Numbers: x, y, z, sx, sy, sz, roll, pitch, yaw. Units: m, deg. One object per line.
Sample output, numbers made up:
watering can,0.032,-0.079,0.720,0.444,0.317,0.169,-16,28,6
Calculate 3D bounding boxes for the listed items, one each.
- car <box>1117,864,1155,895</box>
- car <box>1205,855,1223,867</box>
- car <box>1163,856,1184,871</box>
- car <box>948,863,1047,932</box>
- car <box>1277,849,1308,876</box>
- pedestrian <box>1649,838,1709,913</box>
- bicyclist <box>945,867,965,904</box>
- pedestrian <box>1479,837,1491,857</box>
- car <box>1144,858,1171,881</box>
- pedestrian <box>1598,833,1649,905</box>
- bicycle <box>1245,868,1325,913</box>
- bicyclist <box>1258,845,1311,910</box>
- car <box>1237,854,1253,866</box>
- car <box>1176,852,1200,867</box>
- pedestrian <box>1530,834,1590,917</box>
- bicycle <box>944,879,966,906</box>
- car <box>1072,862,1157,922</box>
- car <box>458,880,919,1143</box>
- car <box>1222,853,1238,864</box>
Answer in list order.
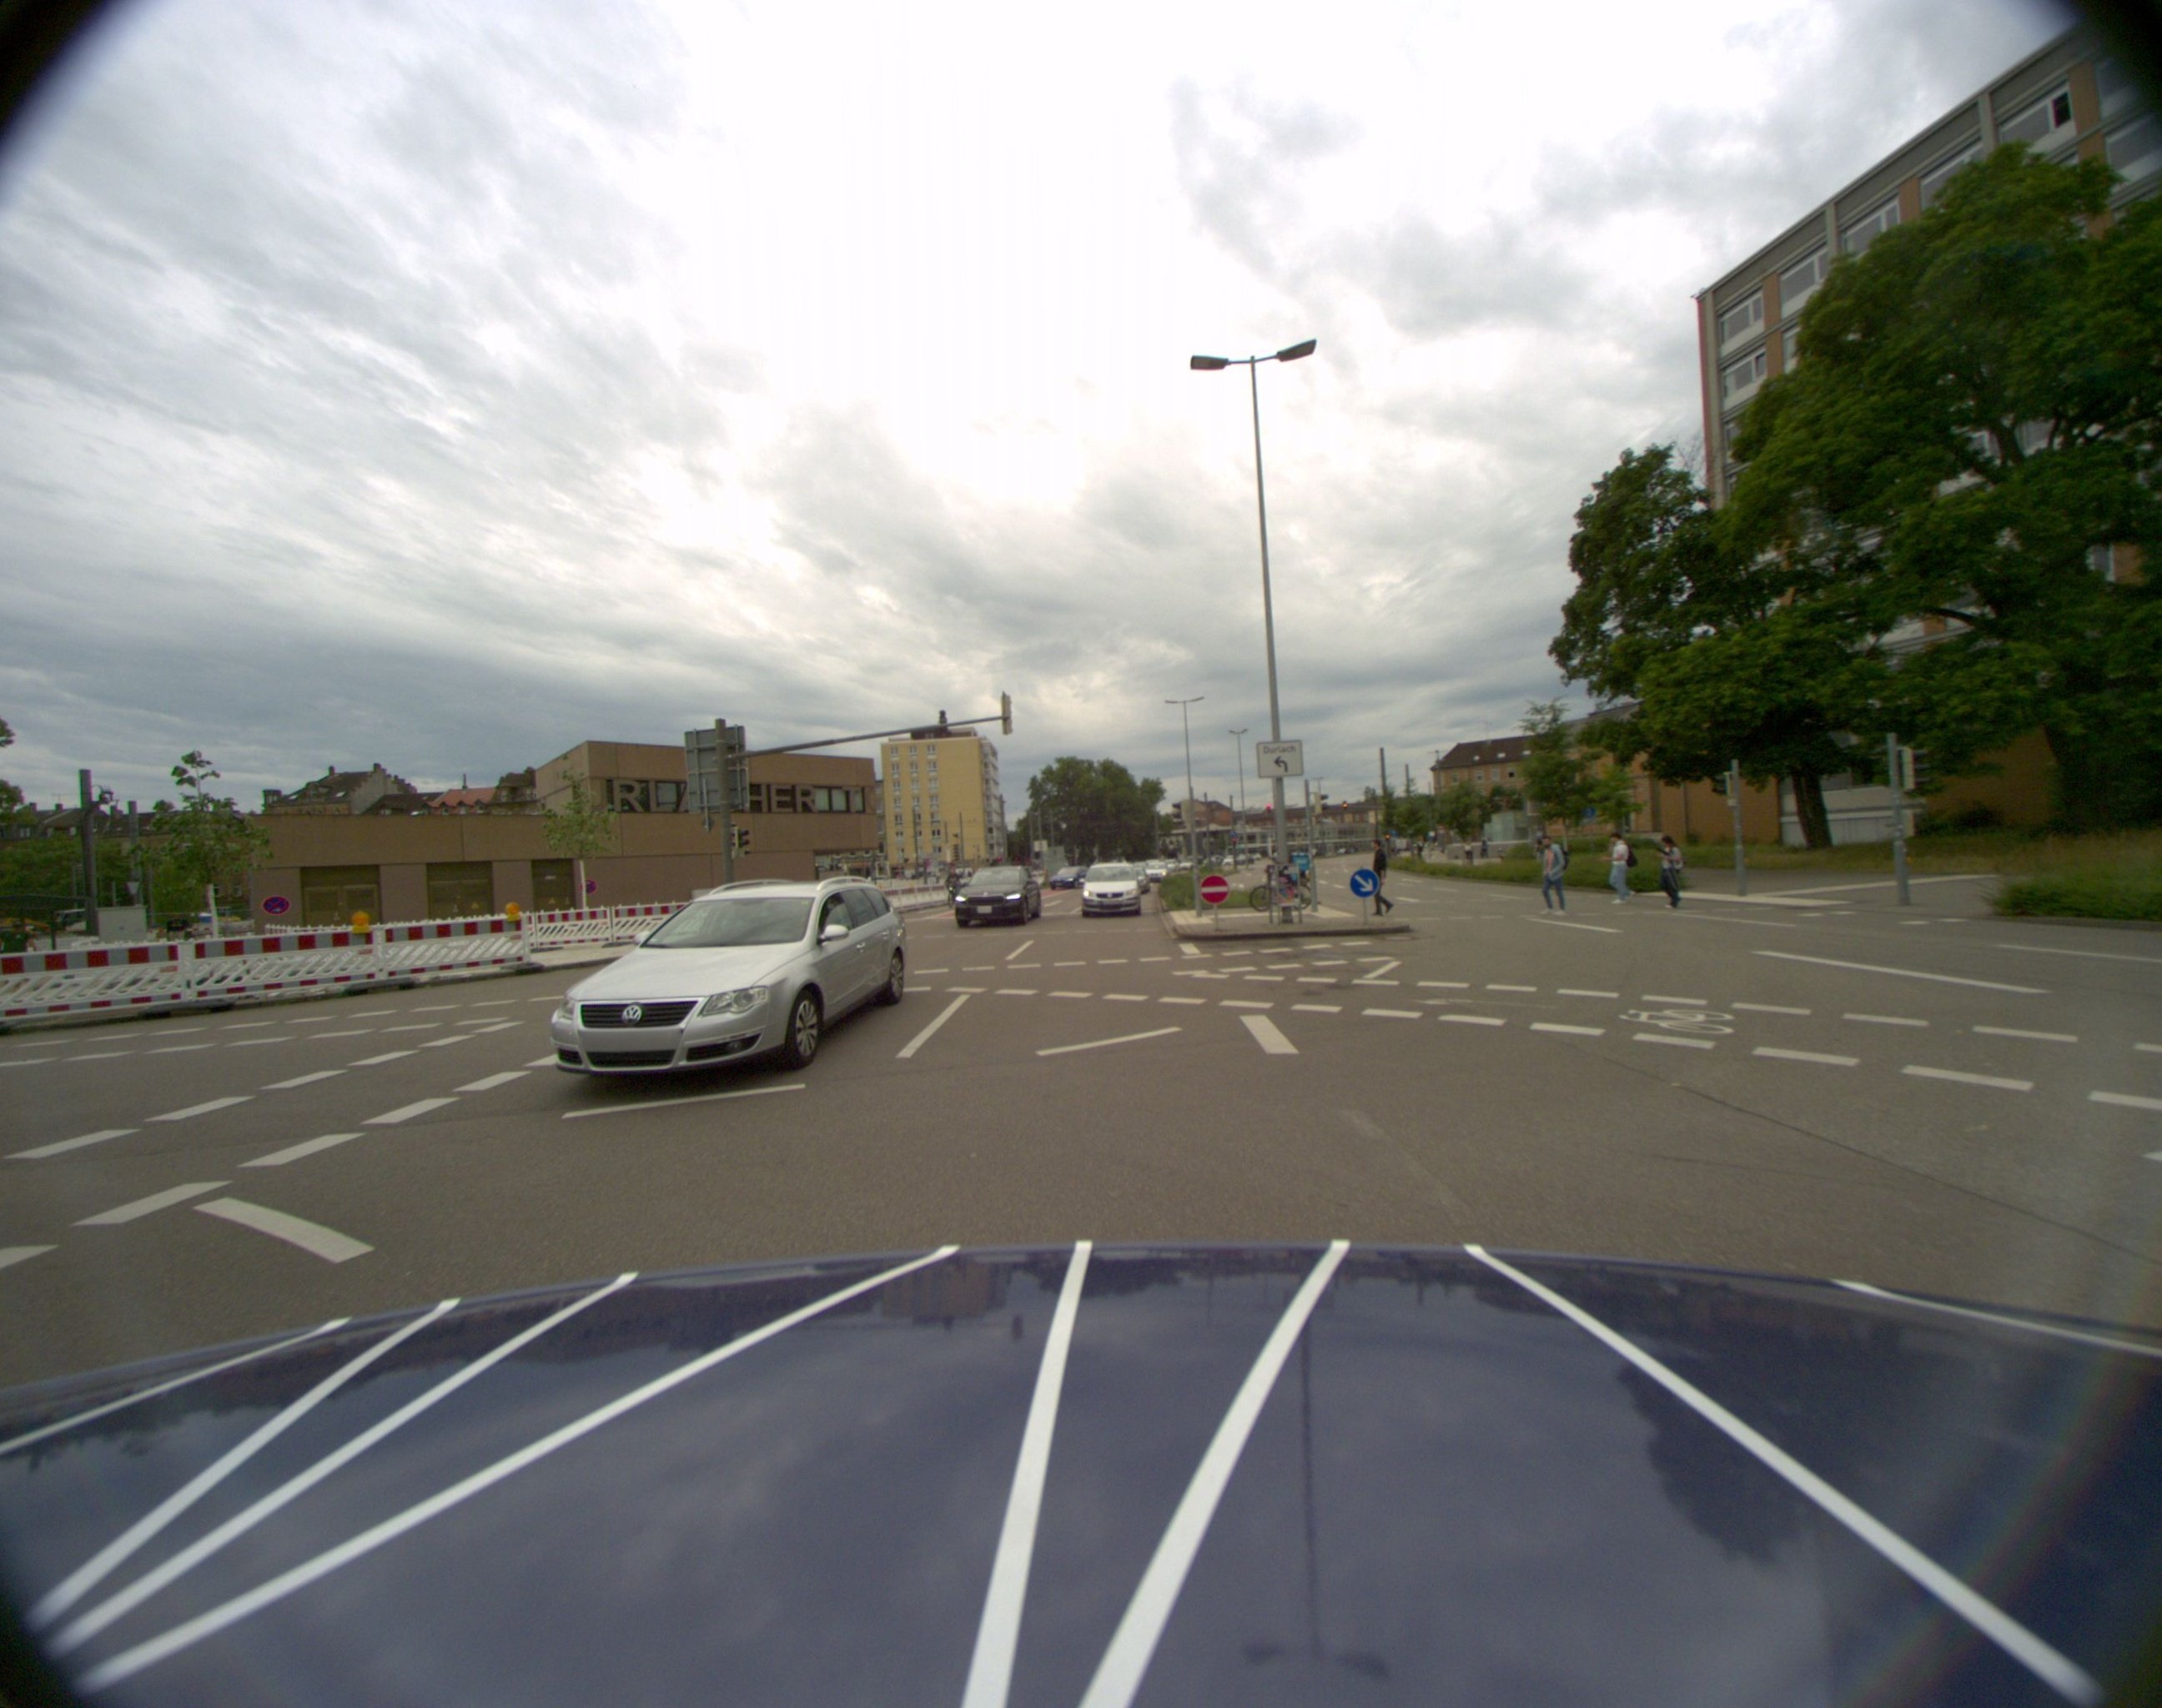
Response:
car,3.040,1.359,41.042,1.725,1.405,4.248,-5,-1,7
car,19.107,1.008,108.899,1.607,1.586,3.765,-3,-1,23
car,11.052,1.128,90.317,1.802,1.586,3.764,-3,-1,16
car,-2.259,1.161,21.858,1.911,1.614,4.492,-3,0,5
car,13.981,0.524,50.386,1.814,1.657,3.953,-3,0,14
pedestrian,13.759,0.492,17.506,0.778,1.657,0.706,-2,-1,-17
bicyclist,-5.607,1.391,33.804,0.694,1.625,0.884,-2,-1,-1
pedestrian,34.627,-0.599,65.106,0.653,1.611,0.471,-2,-1,0
car,5.700,1.147,56.263,1.785,1.454,3.873,-5,0,8
pedestrian,13.834,0.387,19.376,0.769,1.793,0.739,-2,-1,-30
bicycle,5.687,1.008,21.265,2.005,1.136,0.807,-3,-1,1
bicyclist,5.670,0.646,21.240,1.191,1.725,0.807,-3,-1,1
car,23.702,0.857,109.790,1.607,1.586,3.765,-3,-1,23
car,13.713,0.752,97.240,1.995,1.805,4.007,-3,-1,24
pedestrian,10.640,0.477,16.892,0.918,1.793,0.541,-2,-1,8
bicycle,-5.590,1.700,33.807,0.694,1.123,1.868,-2,-1,-1
car,0.947,1.129,23.903,1.735,1.593,4.103,-5,0,-10
car,-3.063,1.114,7.233,1.829,1.541,4.528,-3,-1,2
car,22.928,0.671,116.497,1.607,1.586,3.765,-3,-1,23
